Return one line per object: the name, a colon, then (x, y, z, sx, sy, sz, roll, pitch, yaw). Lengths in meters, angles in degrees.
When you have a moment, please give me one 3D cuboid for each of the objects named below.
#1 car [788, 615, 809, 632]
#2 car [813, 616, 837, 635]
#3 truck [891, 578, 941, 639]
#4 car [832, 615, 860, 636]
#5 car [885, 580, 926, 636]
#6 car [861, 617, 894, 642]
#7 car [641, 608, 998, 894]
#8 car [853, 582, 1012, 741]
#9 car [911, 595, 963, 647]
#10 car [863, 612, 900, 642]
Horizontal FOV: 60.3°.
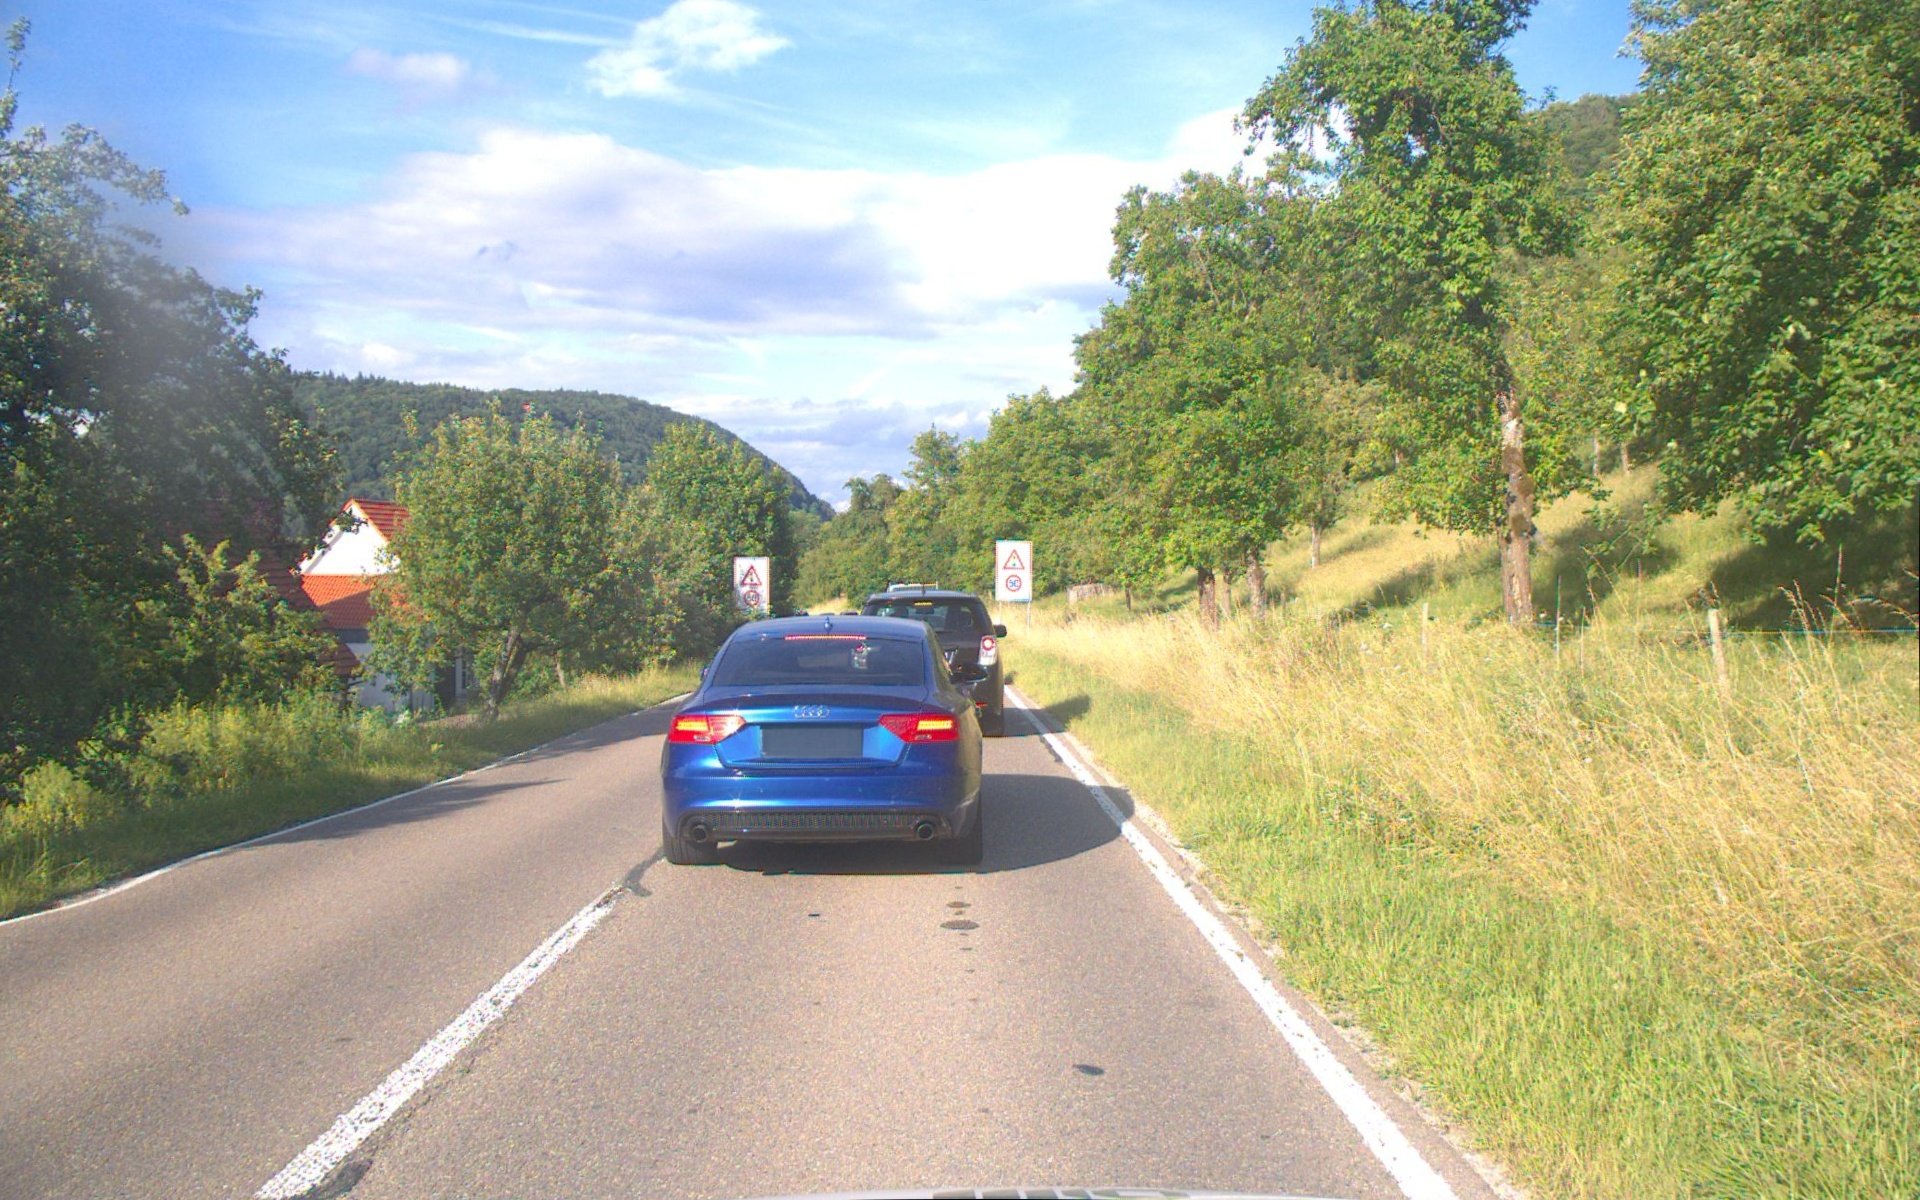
car: (-15.645, 2.251, 160.265, 1.532, 1.522, 3.765, 2, 0, -13)
car: (-11.648, 2.225, 142.733, 1.531, 1.522, 3.766, 2, 0, -12)
truck: (-1.847, 0.337, 68.818, 1.911, 2.386, 5.092, 2, 0, -2)
car: (-8.945, 2.000, 129.048, 1.717, 1.522, 3.768, 2, 0, -11)
car: (-2.609, 0.373, 78.437, 1.757, 2.496, 3.916, 2, 0, -4)
car: (-5.495, 1.925, 110.150, 1.716, 1.522, 3.770, 2, 0, -9)
car: (-0.728, 0.770, 10.383, 1.769, 1.406, 4.214, -1, 0, -1)
car: (-0.330, 0.643, 19.325, 1.658, 1.652, 3.788, 1, 0, -1)
car: (-0.787, 0.682, 55.601, 1.658, 1.652, 3.788, 1, 0, -1)
car: (-4.293, 1.440, 90.118, 1.715, 1.522, 3.772, 2, 0, -7)
